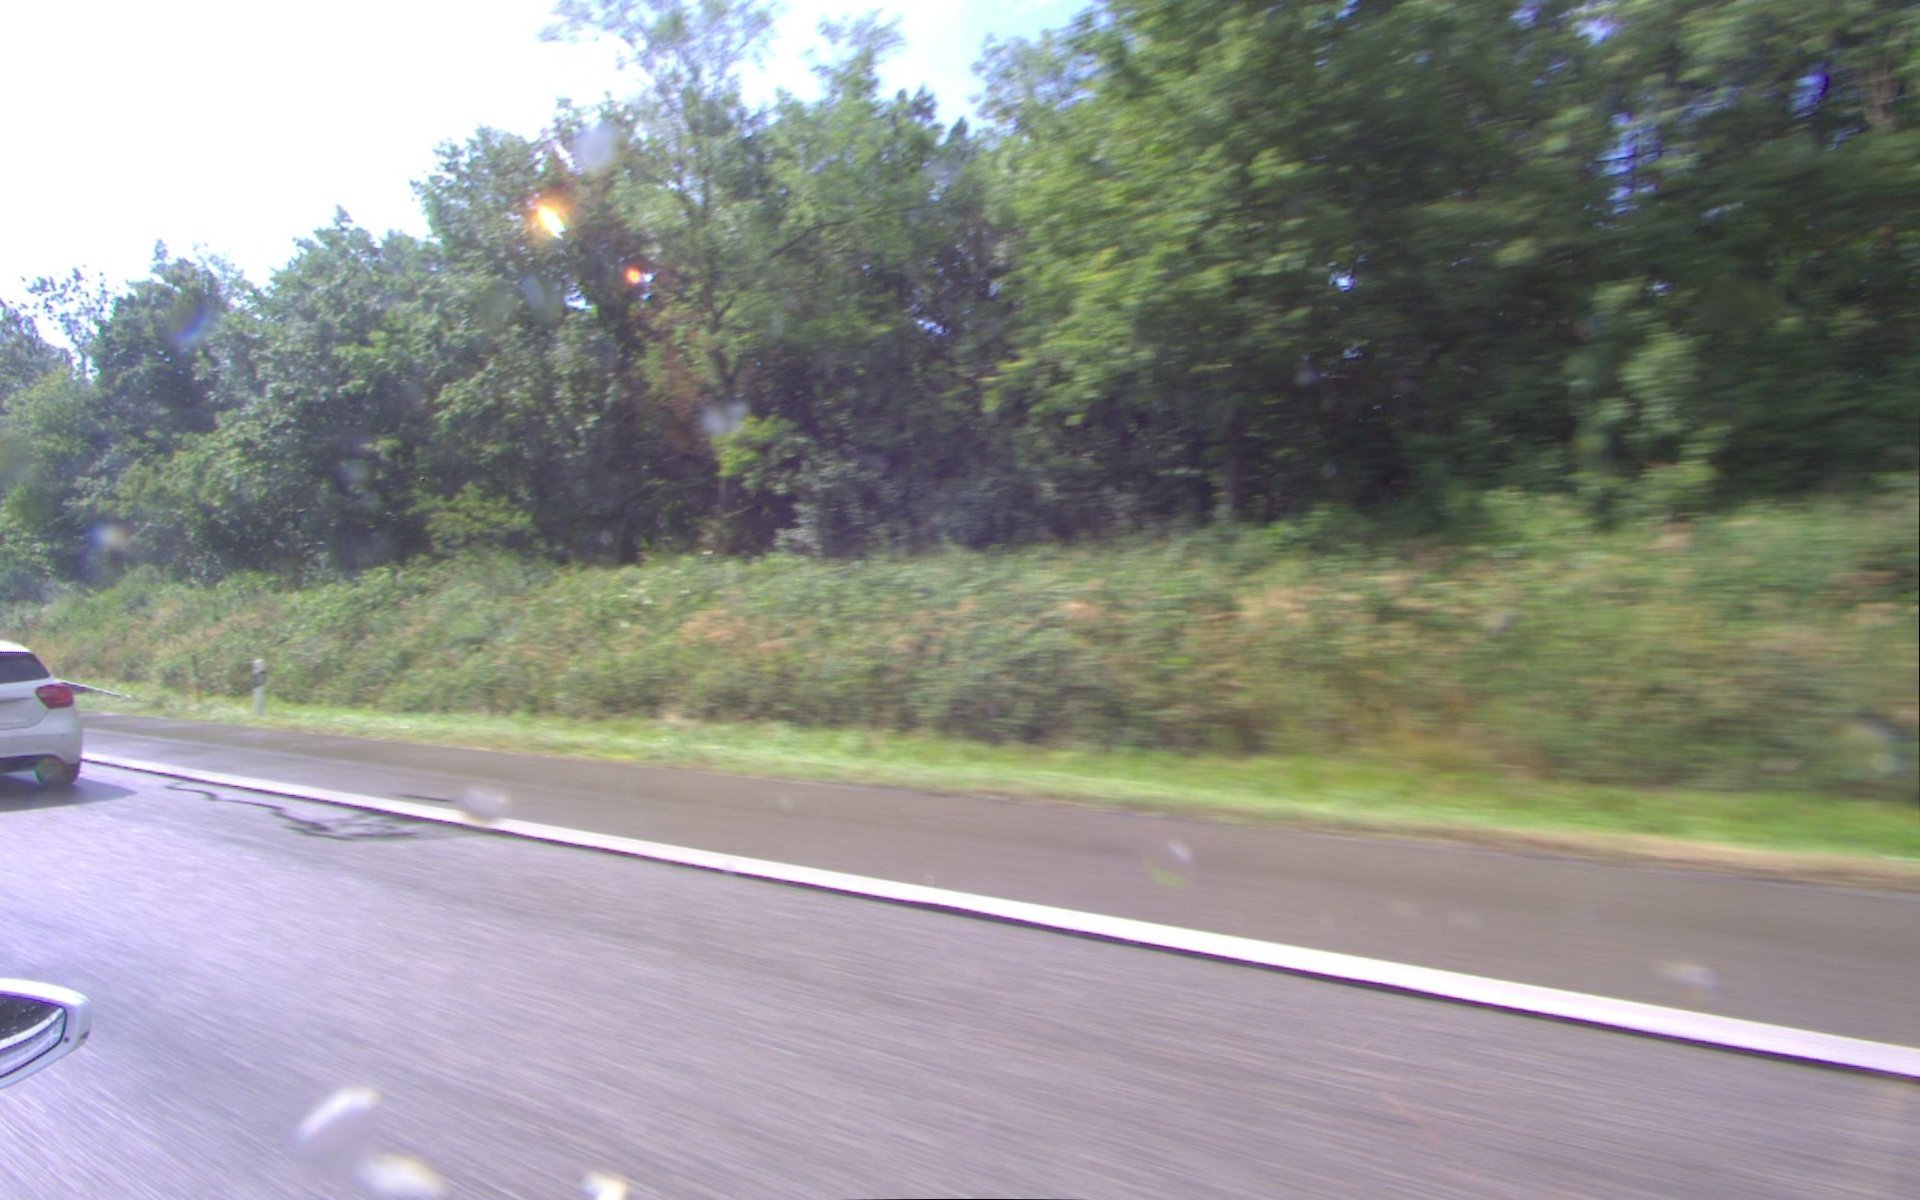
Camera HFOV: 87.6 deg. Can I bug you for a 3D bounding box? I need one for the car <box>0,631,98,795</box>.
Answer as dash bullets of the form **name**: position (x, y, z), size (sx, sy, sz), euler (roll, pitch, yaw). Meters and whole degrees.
- **car**: position (-10.341, 1.031, 9.788), size (4.158, 1.443, 1.690), euler (-1, -2, 31)
